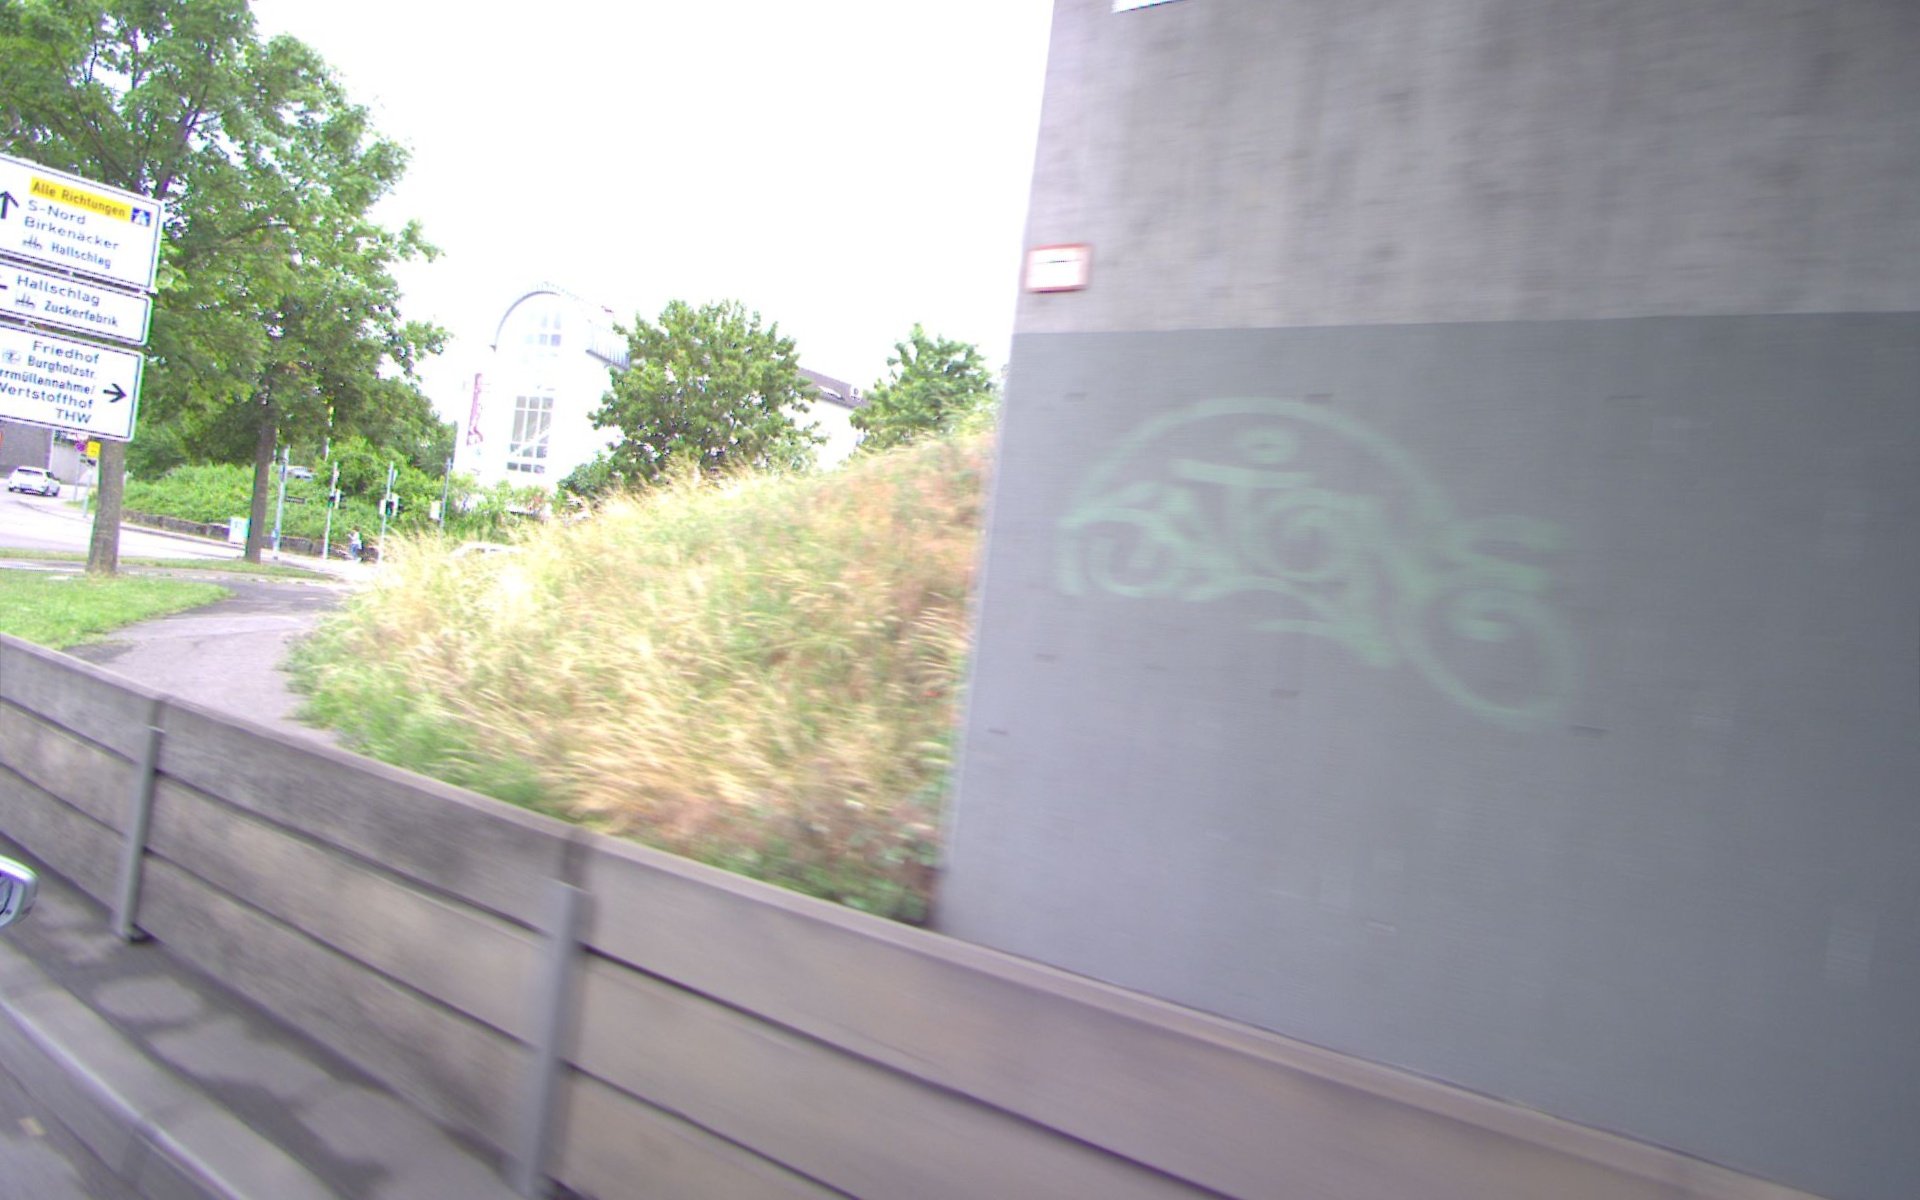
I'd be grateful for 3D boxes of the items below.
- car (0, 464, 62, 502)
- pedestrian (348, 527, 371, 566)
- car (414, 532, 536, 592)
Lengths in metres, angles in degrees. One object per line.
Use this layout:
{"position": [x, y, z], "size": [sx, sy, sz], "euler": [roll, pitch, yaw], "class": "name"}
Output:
{"position": [-52.796, -6.644, 57.258], "size": [1.984, 1.636, 3.960], "euler": [9, -2, -36], "class": "car"}
{"position": [-27.675, -2.461, 46.331], "size": [0.624, 1.672, 0.488], "euler": [9, -1, -42], "class": "pedestrian"}
{"position": [-22.429, -1.740, 46.663], "size": [1.973, 1.931, 4.500], "euler": [7, -3, 42], "class": "car"}
